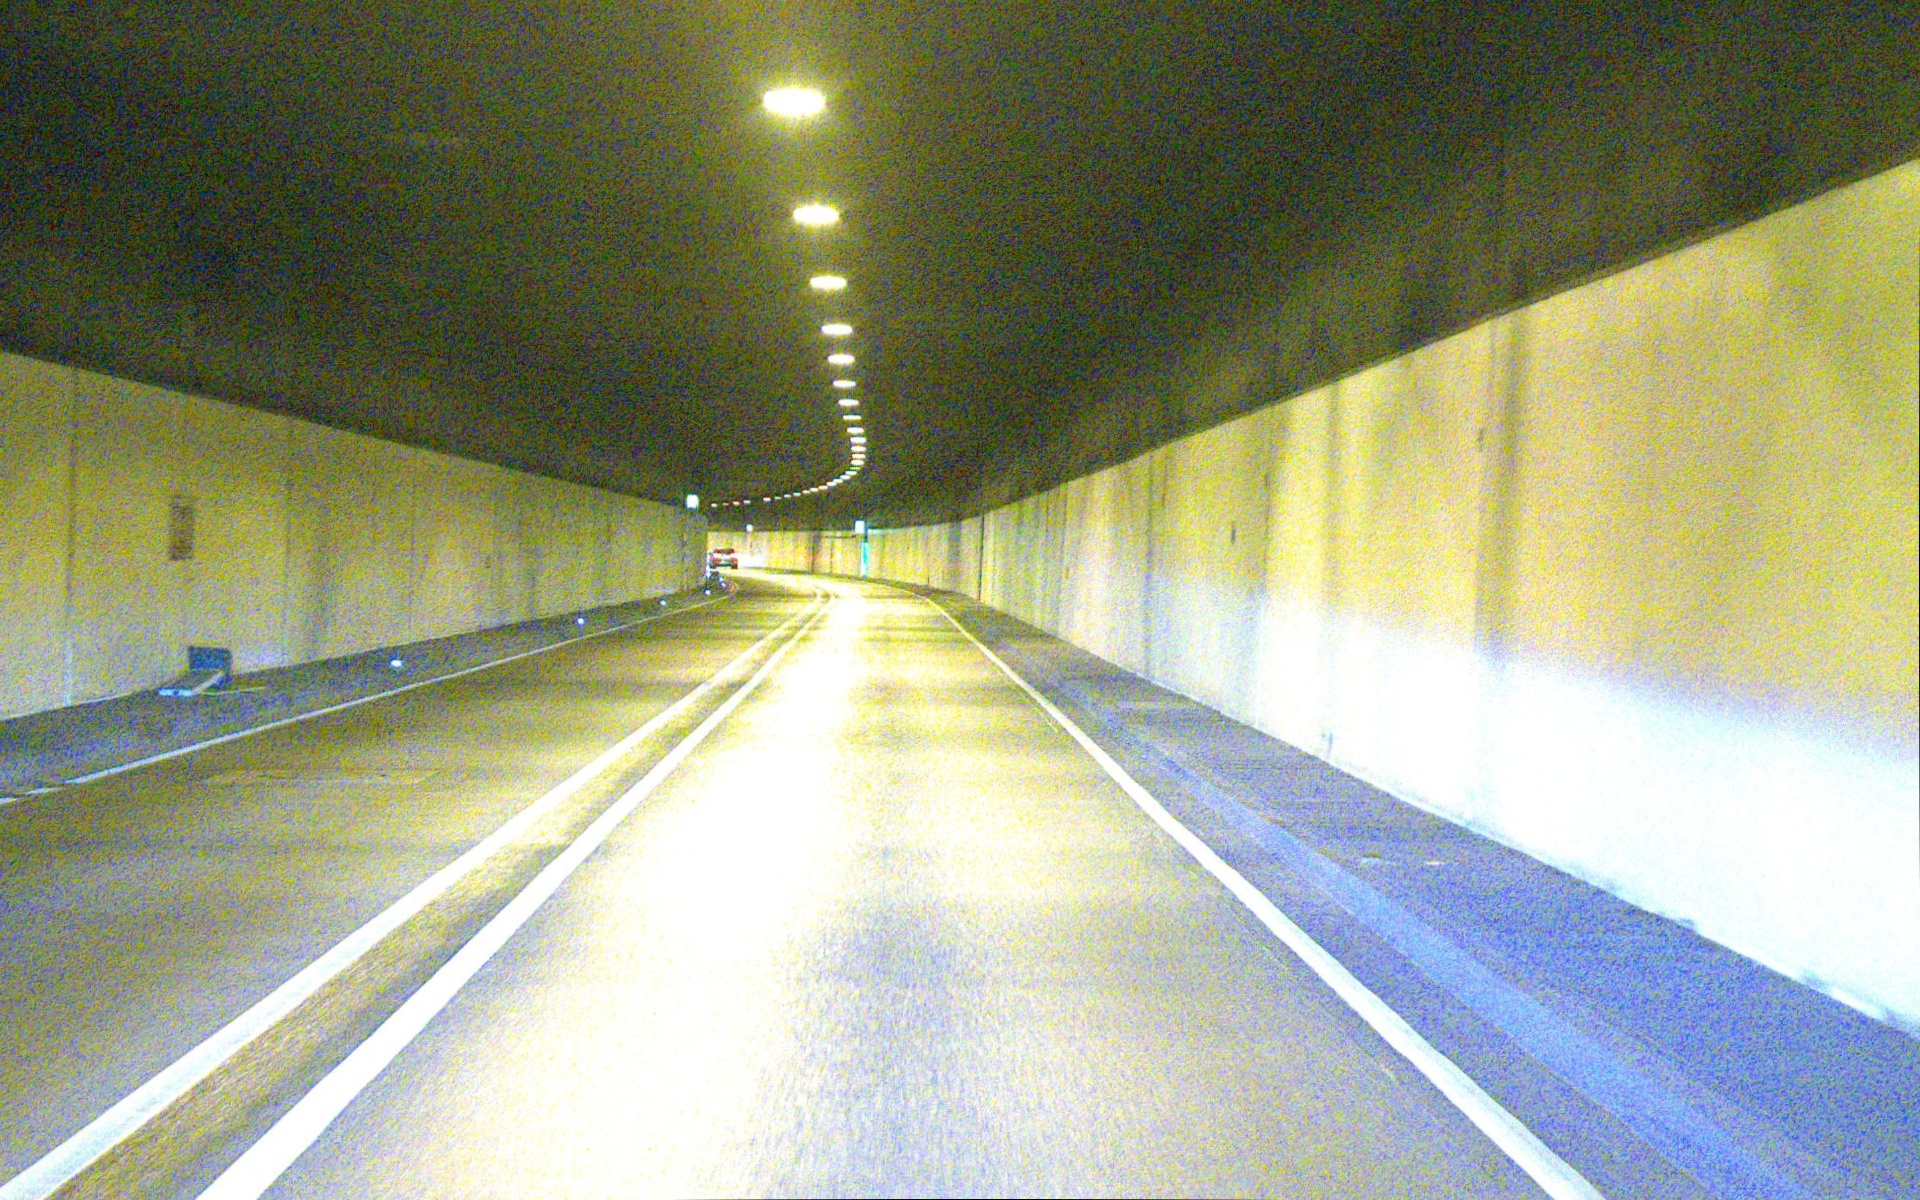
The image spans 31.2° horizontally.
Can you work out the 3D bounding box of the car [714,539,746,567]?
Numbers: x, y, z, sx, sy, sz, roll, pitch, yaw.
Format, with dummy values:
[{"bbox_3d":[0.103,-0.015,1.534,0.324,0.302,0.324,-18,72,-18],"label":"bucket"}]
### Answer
[{"bbox_3d":[-16.935,-3.431,252.472,1.966,1.932,4.613,2,0,-8],"label":"car"}]
